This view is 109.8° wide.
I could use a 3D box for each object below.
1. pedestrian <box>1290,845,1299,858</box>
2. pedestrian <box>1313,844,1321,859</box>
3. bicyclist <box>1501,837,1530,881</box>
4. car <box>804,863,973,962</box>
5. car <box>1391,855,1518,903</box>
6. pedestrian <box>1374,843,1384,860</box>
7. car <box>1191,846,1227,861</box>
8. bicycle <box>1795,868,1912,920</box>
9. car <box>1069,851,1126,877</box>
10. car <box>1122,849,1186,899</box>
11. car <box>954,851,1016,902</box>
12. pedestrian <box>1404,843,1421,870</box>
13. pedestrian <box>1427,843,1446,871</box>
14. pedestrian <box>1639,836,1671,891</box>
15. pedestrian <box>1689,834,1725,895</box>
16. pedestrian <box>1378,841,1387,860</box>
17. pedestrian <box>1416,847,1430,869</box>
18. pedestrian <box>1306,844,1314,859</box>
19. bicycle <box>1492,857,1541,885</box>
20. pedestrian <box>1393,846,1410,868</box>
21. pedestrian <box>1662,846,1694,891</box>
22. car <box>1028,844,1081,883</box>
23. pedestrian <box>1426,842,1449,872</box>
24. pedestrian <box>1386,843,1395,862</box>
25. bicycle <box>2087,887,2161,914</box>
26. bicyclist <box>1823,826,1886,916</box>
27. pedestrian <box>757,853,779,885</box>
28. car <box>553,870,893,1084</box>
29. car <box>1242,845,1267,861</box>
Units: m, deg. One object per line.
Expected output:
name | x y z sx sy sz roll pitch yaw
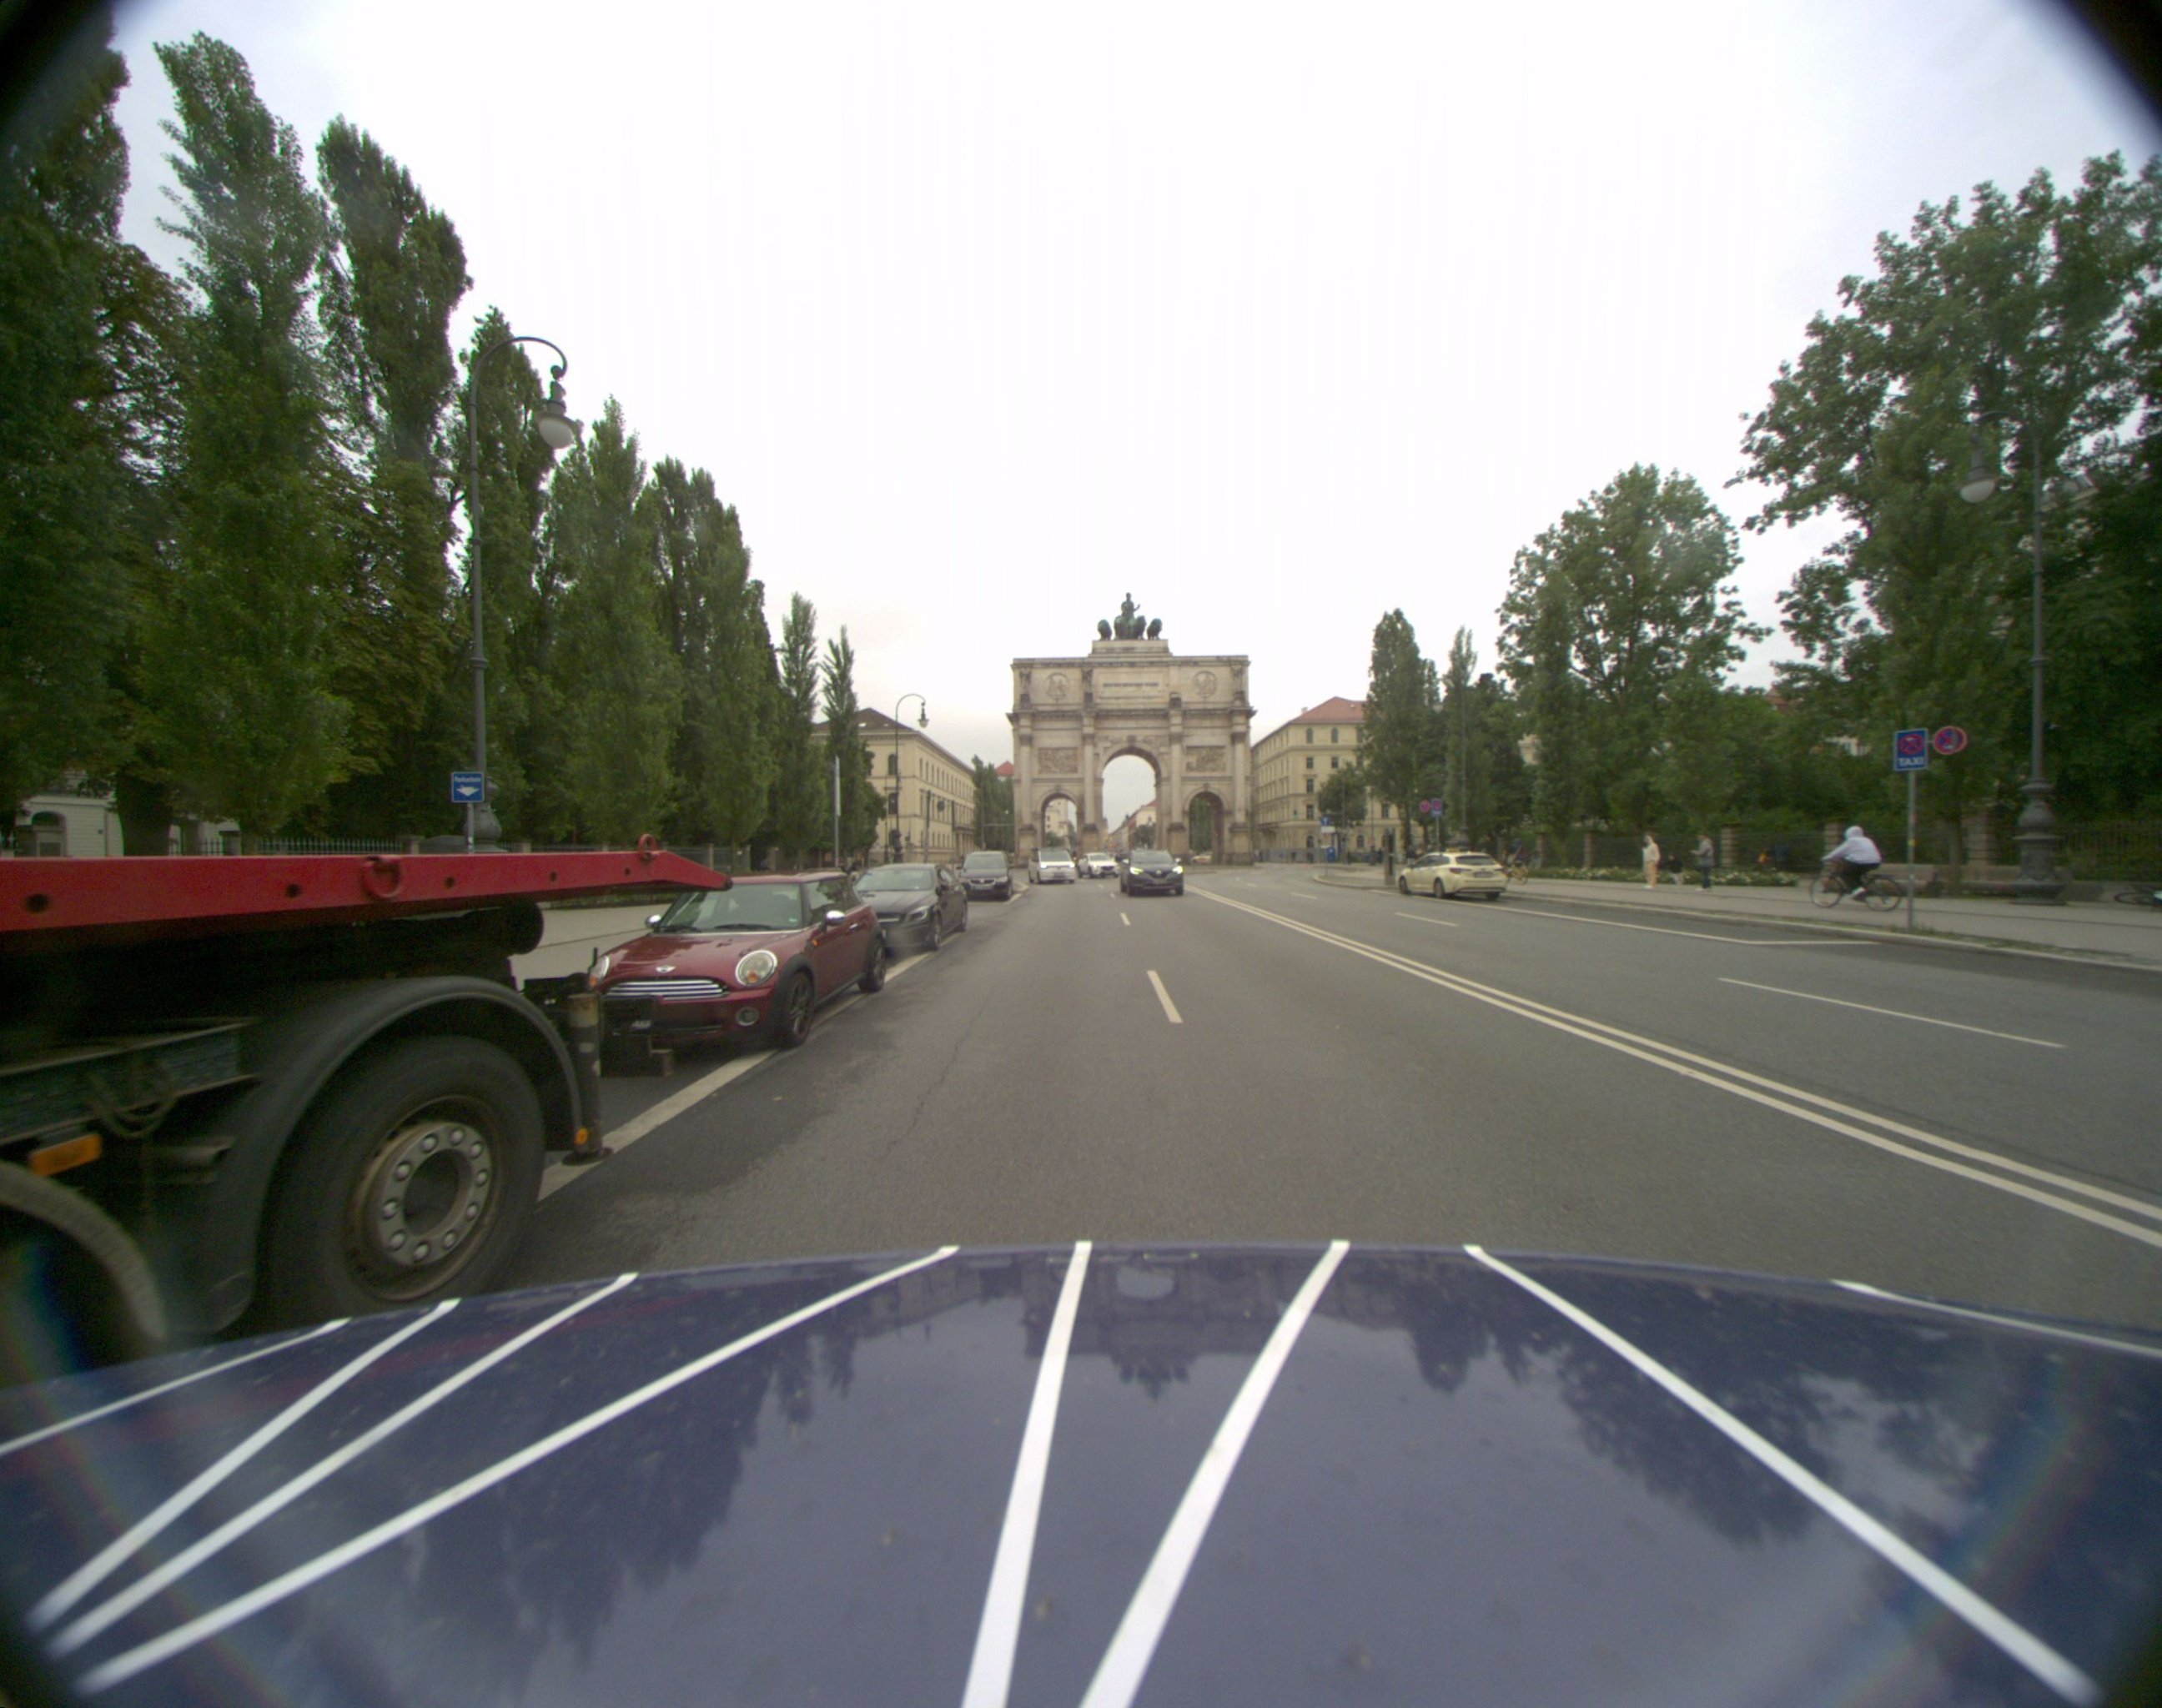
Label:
pedestrian | 28.531 -0.318 101.370 1.031 1.812 0.882 -1 1 9
pedestrian | 29.991 -0.333 96.690 0.880 1.812 0.686 -1 1 10
bicyclist | 16.000 0.189 28.013 0.647 1.583 0.661 -2 1 -1
car | -3.201 0.897 13.602 1.847 1.383 4.438 -1 0 0
car | 11.712 0.737 24.203 1.797 1.329 4.468 -1 0 -1
pedestrian | 33.123 -0.266 84.368 0.880 1.812 0.686 -1 1 10
car | 15.817 -0.063 93.983 2.004 1.740 3.989 -1 1 -39
bicycle | 15.992 0.807 15.797 0.470 0.947 1.913 -2 0 0
car | 0.942 0.589 46.547 1.914 1.516 4.000 -1 0 -25
car | 2.487 0.634 26.766 1.840 1.576 4.185 -1 0 0
car | -3.289 0.716 26.838 1.847 1.597 4.366 -1 0 -3
pedestrian | 21.496 0.137 49.210 0.958 1.708 1.032 -2 1 23
pedestrian | 25.124 0.202 53.720 0.990 1.860 1.031 -2 1 11
pedestrian | 17.929 0.291 23.747 0.533 1.720 0.583 -1 1 -10
pedestrian | 18.060 0.297 21.920 0.533 1.720 0.583 -1 1 -10
pedestrian | 31.788 -0.385 80.102 0.769 2.002 0.887 -1 1 10
pedestrian | 24.213 0.264 53.818 0.728 1.508 0.842 -2 1 11
pedestrian | 28.992 -0.293 96.313 0.880 1.812 0.686 -1 1 10
bicycle | 16.013 0.595 27.993 0.674 0.947 1.913 -2 0 0
pedestrian | 22.954 0.193 54.452 0.888 1.508 1.031 -2 1 11
pedestrian | 18.635 0.439 23.717 0.533 1.367 0.583 -1 1 -10
car | -1.550 0.454 41.748 2.066 1.916 5.722 -2 1 -10
pedestrian | 20.923 0.169 44.610 0.959 1.708 1.031 -2 1 13
pedestrian | 32.591 -0.190 80.050 0.769 2.002 0.887 -1 1 10
bicycle | 22.801 0.978 16.039 2.219 0.450 1.339 -1 0 -21
bicyclist | 15.974 0.346 15.696 0.591 1.813 0.661 -2 1 -1
pedestrian | -17.528 0.833 42.589 0.812 1.761 0.884 -1 1 -1
car | -3.092 0.949 7.442 1.564 1.461 3.652 -1 0 0
car | 20.071 -0.108 88.241 1.998 1.805 4.000 -1 0 0
